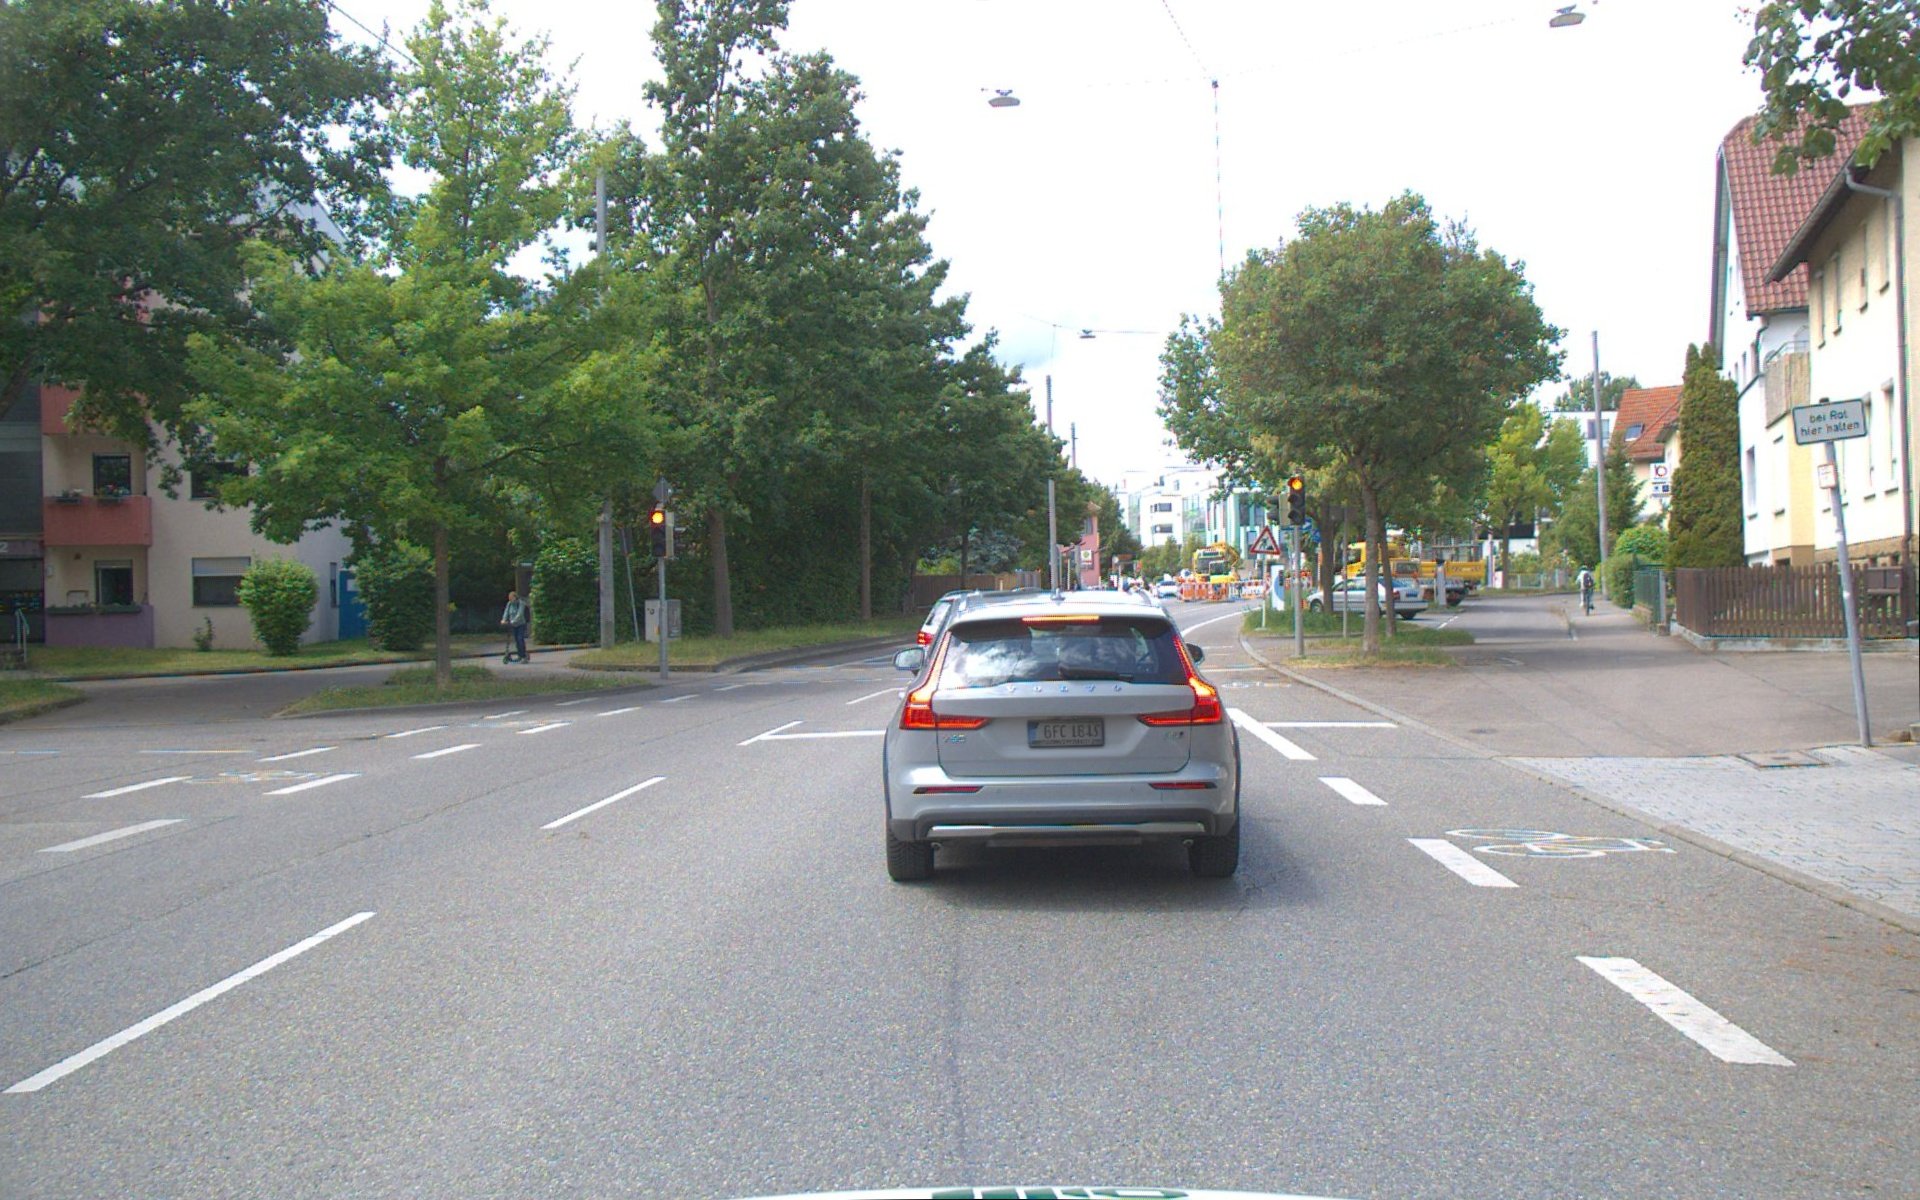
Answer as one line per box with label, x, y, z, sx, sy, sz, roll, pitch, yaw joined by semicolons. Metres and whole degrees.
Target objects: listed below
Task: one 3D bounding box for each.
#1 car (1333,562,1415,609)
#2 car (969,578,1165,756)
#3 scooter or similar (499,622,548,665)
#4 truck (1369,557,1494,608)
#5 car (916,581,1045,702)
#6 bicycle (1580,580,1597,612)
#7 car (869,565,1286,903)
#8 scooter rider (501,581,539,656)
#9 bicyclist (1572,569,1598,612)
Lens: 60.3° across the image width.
car;18.876;-0.637;75.380;3.730;2.049;1.719;0;-1;-39
car;1.112;0.590;17.531;1.766;1.549;4.331;2;1;3
scooter or similar;-10.425;1.030;39.501;0.946;0.978;0.681;-1;0;-37
truck;20.100;-0.714;70.444;5.548;2.049;2.064;0;-1;-35
car;0.234;0.608;25.504;1.768;1.644;4.327;2;-1;-2
bicycle;21.136;-0.123;55.649;0.452;1.053;2.764;-1;-1;19
car;0.650;0.603;9.861;1.915;1.550;4.331;-1;1;3
scooter rider;-10.495;0.446;39.460;0.699;1.758;0.671;0;-1;-36
bicyclist;21.032;-0.304;55.636;0.761;1.424;0.702;-1;-1;19
